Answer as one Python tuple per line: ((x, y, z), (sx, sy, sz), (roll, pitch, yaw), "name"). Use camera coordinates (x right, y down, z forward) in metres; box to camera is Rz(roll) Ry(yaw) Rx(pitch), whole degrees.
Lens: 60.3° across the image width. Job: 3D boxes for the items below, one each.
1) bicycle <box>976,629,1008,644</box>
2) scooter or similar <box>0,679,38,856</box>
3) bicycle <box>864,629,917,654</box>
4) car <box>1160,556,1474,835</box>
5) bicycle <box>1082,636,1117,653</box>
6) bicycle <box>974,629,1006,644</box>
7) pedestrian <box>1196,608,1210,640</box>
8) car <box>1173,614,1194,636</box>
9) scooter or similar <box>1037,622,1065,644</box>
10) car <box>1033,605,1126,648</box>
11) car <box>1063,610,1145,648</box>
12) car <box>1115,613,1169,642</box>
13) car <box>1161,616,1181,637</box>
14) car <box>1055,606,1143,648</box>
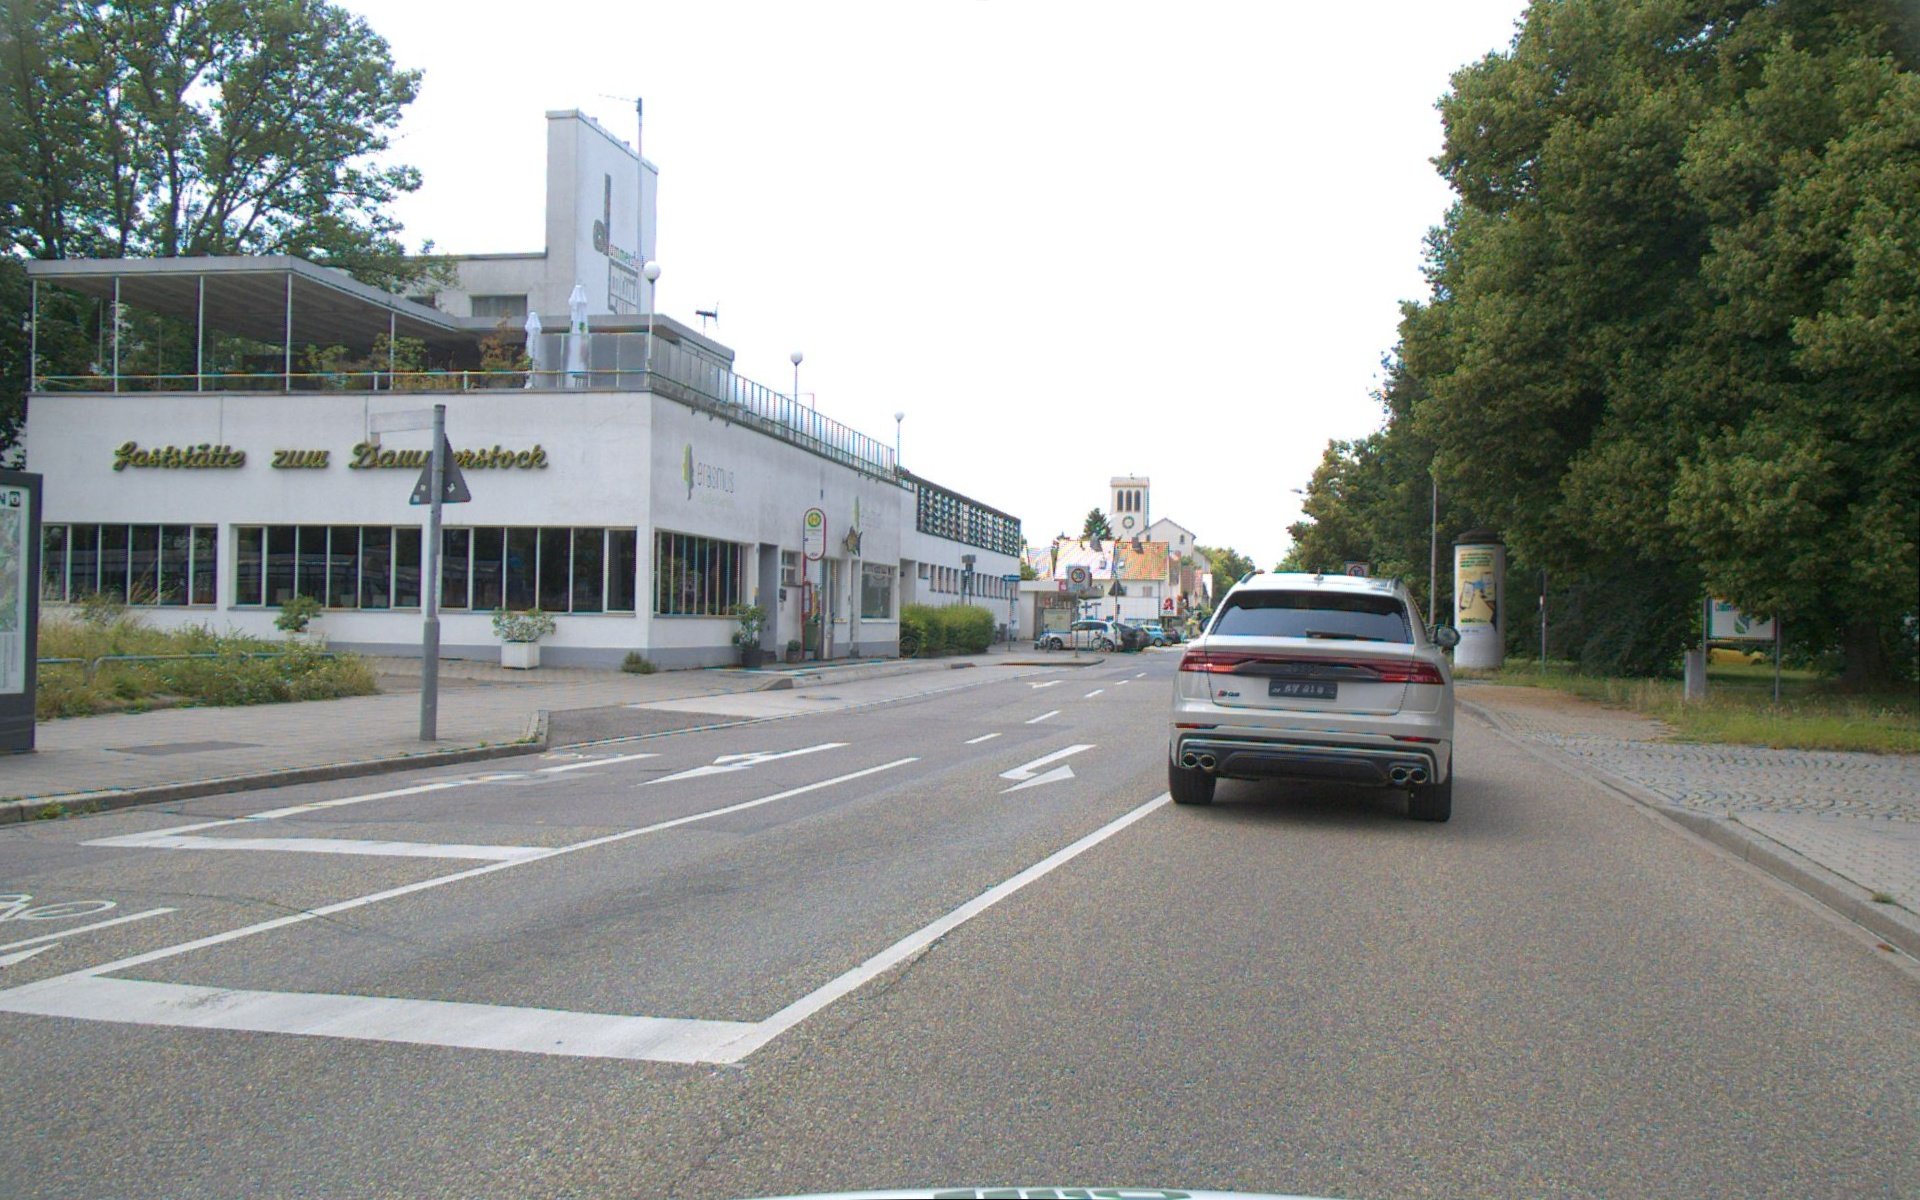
((1.747, 1.976, 89.613), (1.642, 0.771, 0.568), (3, -1, -16), "bicycle")
((-6.131, 0.961, 9.131), (0.939, 0.997, 1.580), (0, 0, 21), "scooter or similar")
((-2.170, 1.296, 51.632), (1.638, 0.771, 0.410), (1, -1, -7), "bicycle")
((2.900, 0.619, 12.928), (1.939, 1.713, 4.577), (2, 0, 15), "car")
((6.595, 2.102, 78.053), (1.634, 0.771, 0.570), (2, -1, 5), "bicycle")
((1.622, 1.988, 90.379), (1.642, 0.771, 0.568), (3, -1, -16), "bicycle")
((16.864, 1.687, 114.758), (0.890, 2.173, 1.015), (1, -1, 11), "pedestrian")
((21.170, 2.385, 156.788), (1.951, 2.049, 4.003), (1, -1, 7), "car")
((4.323, 1.564, 78.877), (0.613, 1.013, 1.984), (2, -2, -20), "scooter or similar")
((5.975, 1.337, 82.430), (4.533, 2.049, 2.001), (1, -2, 5), "car")
((8.136, 1.628, 93.324), (4.533, 2.049, 2.001), (1, -2, 5), "car")
((13.274, 2.022, 120.885), (3.903, 2.049, 2.001), (0, -1, 5), "car")
((21.152, 2.653, 165.895), (1.951, 2.049, 4.003), (1, -1, 7), "car")
((7.279, 1.428, 86.522), (4.533, 2.049, 2.001), (1, -2, 5), "car")
